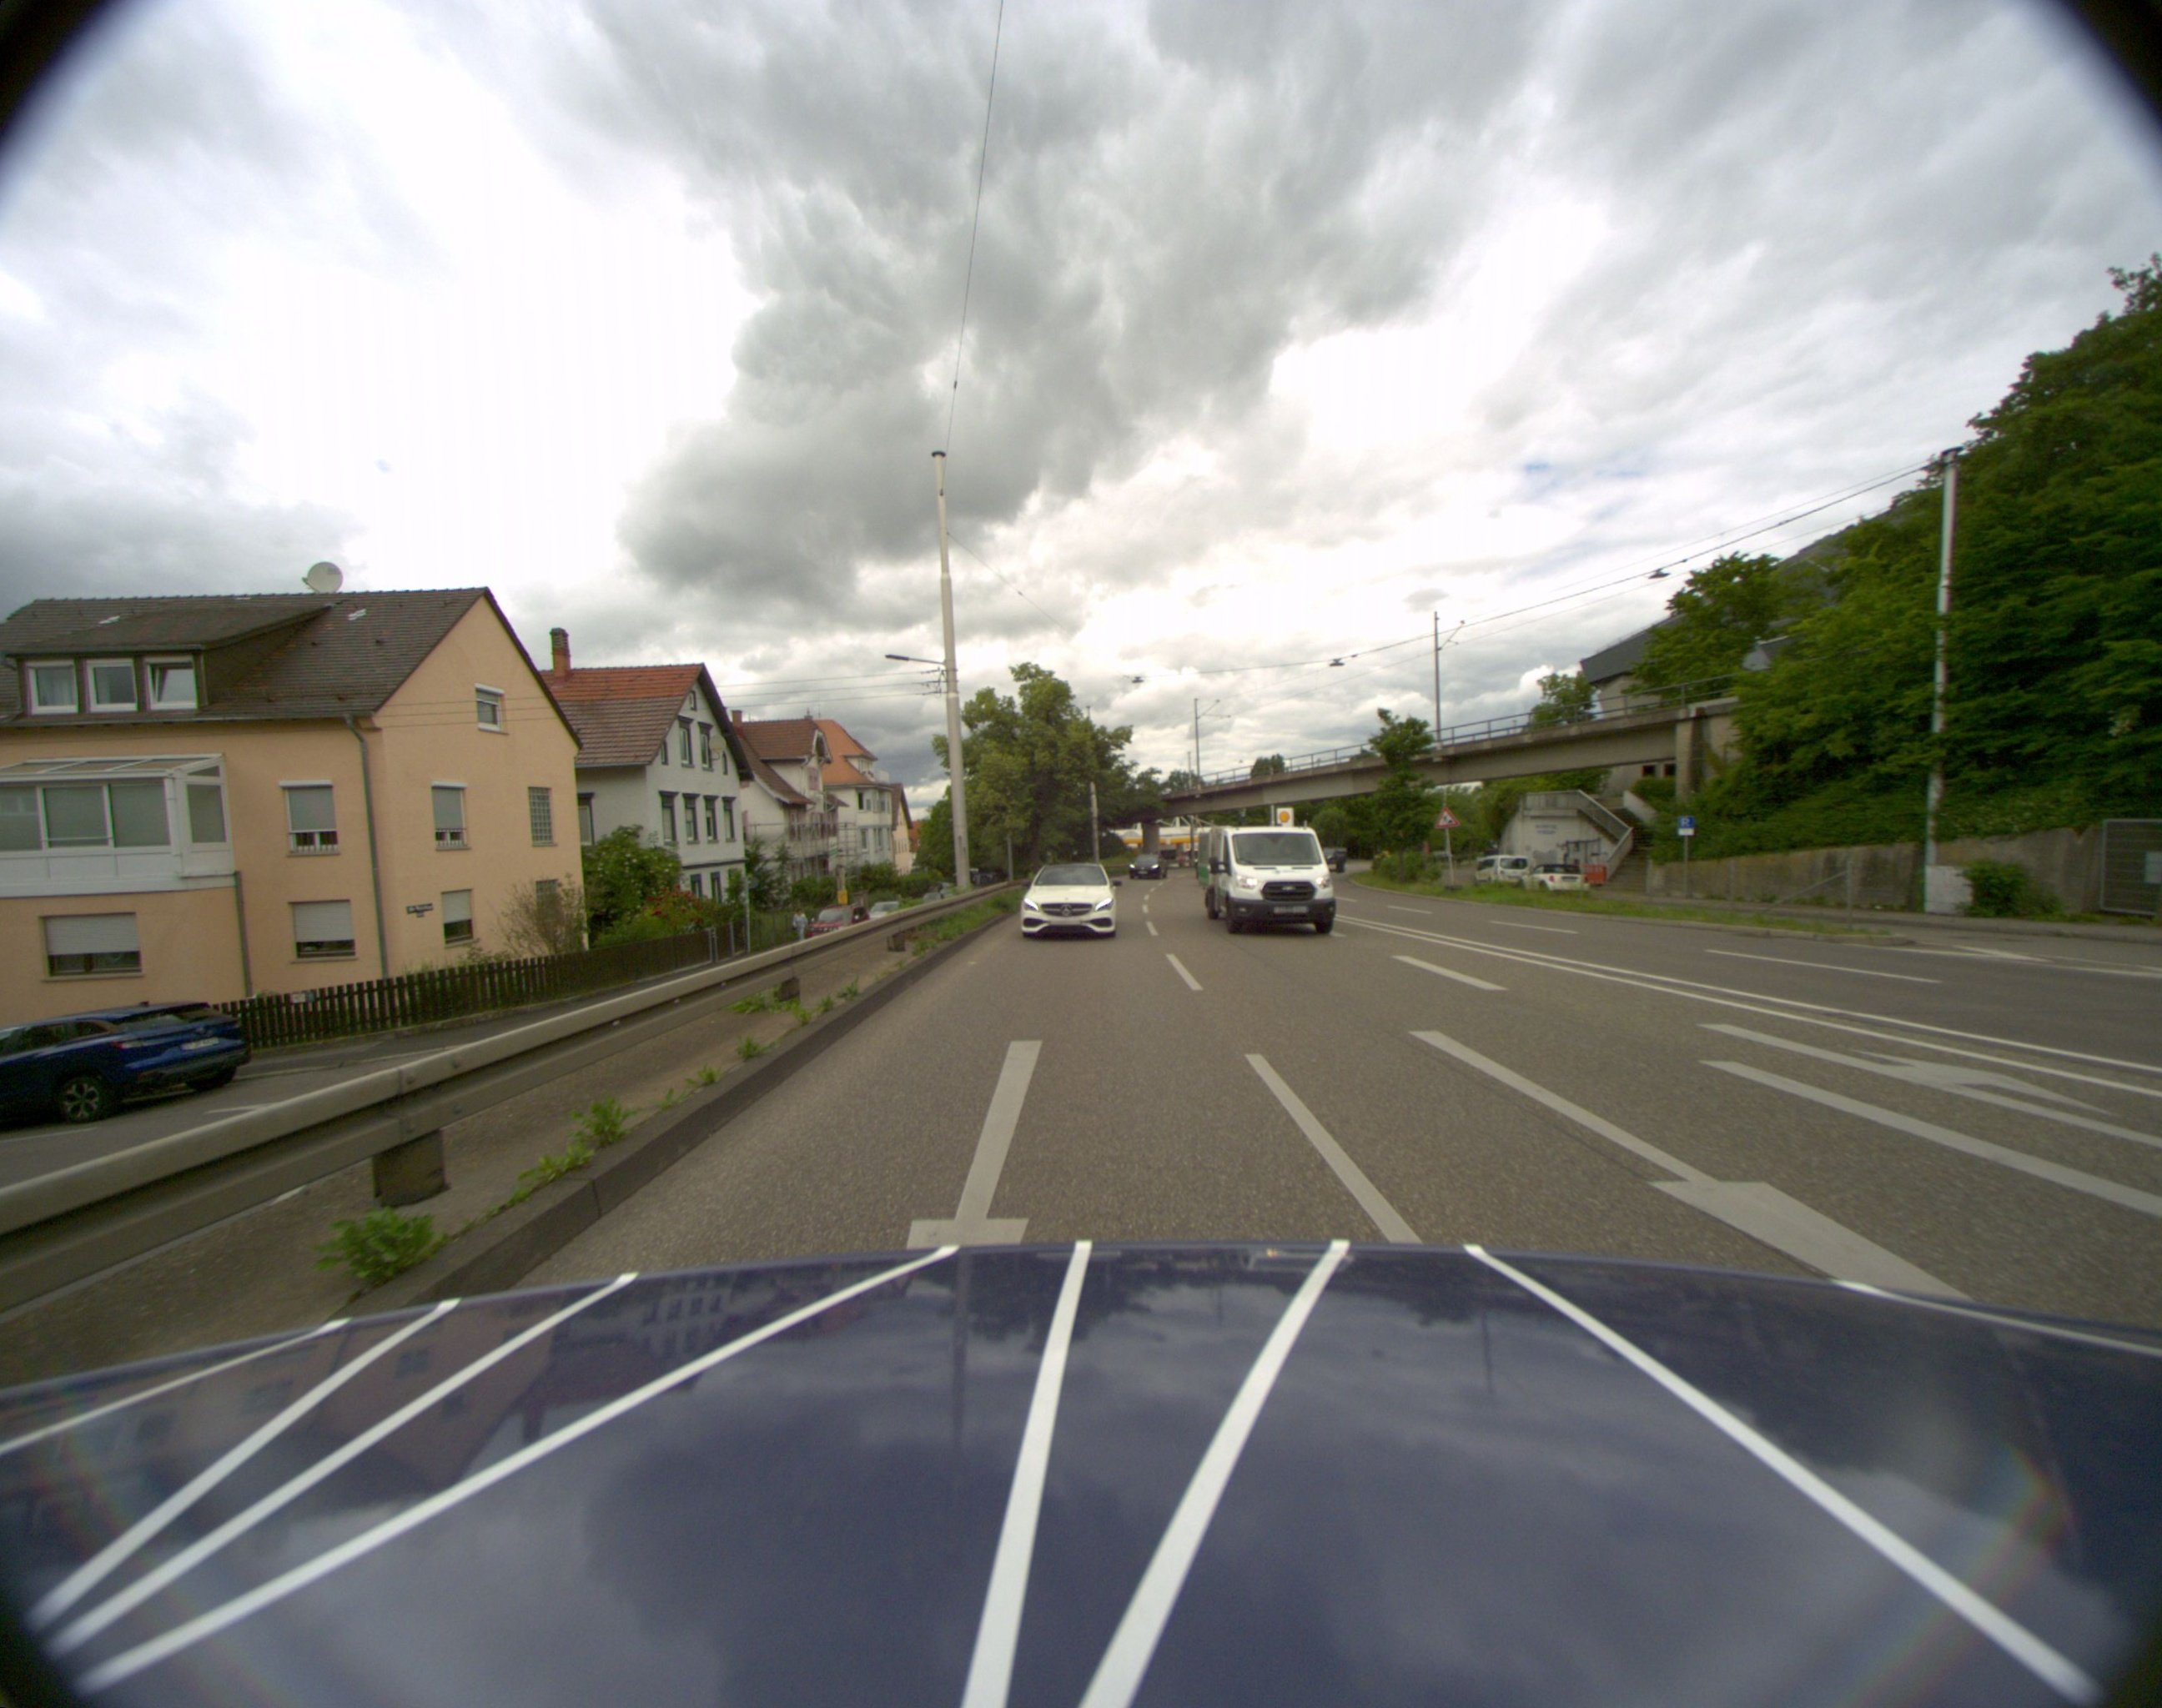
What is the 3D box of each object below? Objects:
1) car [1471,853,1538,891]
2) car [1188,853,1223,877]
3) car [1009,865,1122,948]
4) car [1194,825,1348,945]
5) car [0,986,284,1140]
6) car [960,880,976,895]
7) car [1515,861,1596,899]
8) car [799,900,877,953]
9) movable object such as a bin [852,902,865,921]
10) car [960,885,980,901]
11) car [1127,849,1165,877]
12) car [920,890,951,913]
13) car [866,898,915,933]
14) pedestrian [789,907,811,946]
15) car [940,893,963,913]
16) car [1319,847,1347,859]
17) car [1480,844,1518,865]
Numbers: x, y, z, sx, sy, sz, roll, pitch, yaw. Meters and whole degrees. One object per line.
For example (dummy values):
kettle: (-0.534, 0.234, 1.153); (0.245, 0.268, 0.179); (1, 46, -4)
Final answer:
car: (21.670, 0.861, 39.071); (1.769, 1.775, 4.469); (2, 1, 13)
car: (7.910, 0.668, 48.557); (1.733, 1.403, 4.000); (0, 1, 3)
car: (-0.178, 0.958, 15.556); (1.820, 1.339, 4.001); (0, 1, 6)
car: (3.933, 0.535, 16.984); (1.998, 2.161, 6.268); (-1, 1, 2)
car: (-15.868, 3.394, 12.071); (3.998, 1.564, 2.000); (-10, 0, -3)
car: (-12.356, 3.654, 83.409); (1.624, 1.512, 4.301); (-3, 0, -8)
car: (20.238, 1.072, 32.597); (1.769, 1.411, 3.807); (1, 1, 13)
car: (-9.629, 2.829, 30.474); (1.787, 1.660, 4.202); (-3, 0, -2)
movable object such as a bin: (-13.215, 3.408, 45.126); (0.580, 1.073, 0.538); (0, 1, 3)
car: (-11.326, 3.942, 77.678); (1.650, 1.386, 3.768); (-3, 0, -5)
car: (3.912, 0.557, 46.630); (1.998, 1.521, 4.001); (-4, 0, 1)
car: (-10.714, 3.467, 56.184); (1.623, 1.439, 4.056); (-3, 0, -3)
car: (-9.960, 3.201, 39.969); (1.623, 1.432, 4.431); (-3, 0, -3)
pedestrian: (-11.292, 2.899, 30.546); (0.619, 1.472, 0.589); (-3, 0, -1)
car: (-11.202, 4.257, 65.913); (1.624, 1.439, 4.028); (-3, 0, -5)
car: (31.138, -0.099, 93.782); (1.726, 1.469, 4.008); (0, 1, 45)
car: (46.120, 0.011, 83.768); (2.268, 2.260, 6.340); (3, 2, 42)
